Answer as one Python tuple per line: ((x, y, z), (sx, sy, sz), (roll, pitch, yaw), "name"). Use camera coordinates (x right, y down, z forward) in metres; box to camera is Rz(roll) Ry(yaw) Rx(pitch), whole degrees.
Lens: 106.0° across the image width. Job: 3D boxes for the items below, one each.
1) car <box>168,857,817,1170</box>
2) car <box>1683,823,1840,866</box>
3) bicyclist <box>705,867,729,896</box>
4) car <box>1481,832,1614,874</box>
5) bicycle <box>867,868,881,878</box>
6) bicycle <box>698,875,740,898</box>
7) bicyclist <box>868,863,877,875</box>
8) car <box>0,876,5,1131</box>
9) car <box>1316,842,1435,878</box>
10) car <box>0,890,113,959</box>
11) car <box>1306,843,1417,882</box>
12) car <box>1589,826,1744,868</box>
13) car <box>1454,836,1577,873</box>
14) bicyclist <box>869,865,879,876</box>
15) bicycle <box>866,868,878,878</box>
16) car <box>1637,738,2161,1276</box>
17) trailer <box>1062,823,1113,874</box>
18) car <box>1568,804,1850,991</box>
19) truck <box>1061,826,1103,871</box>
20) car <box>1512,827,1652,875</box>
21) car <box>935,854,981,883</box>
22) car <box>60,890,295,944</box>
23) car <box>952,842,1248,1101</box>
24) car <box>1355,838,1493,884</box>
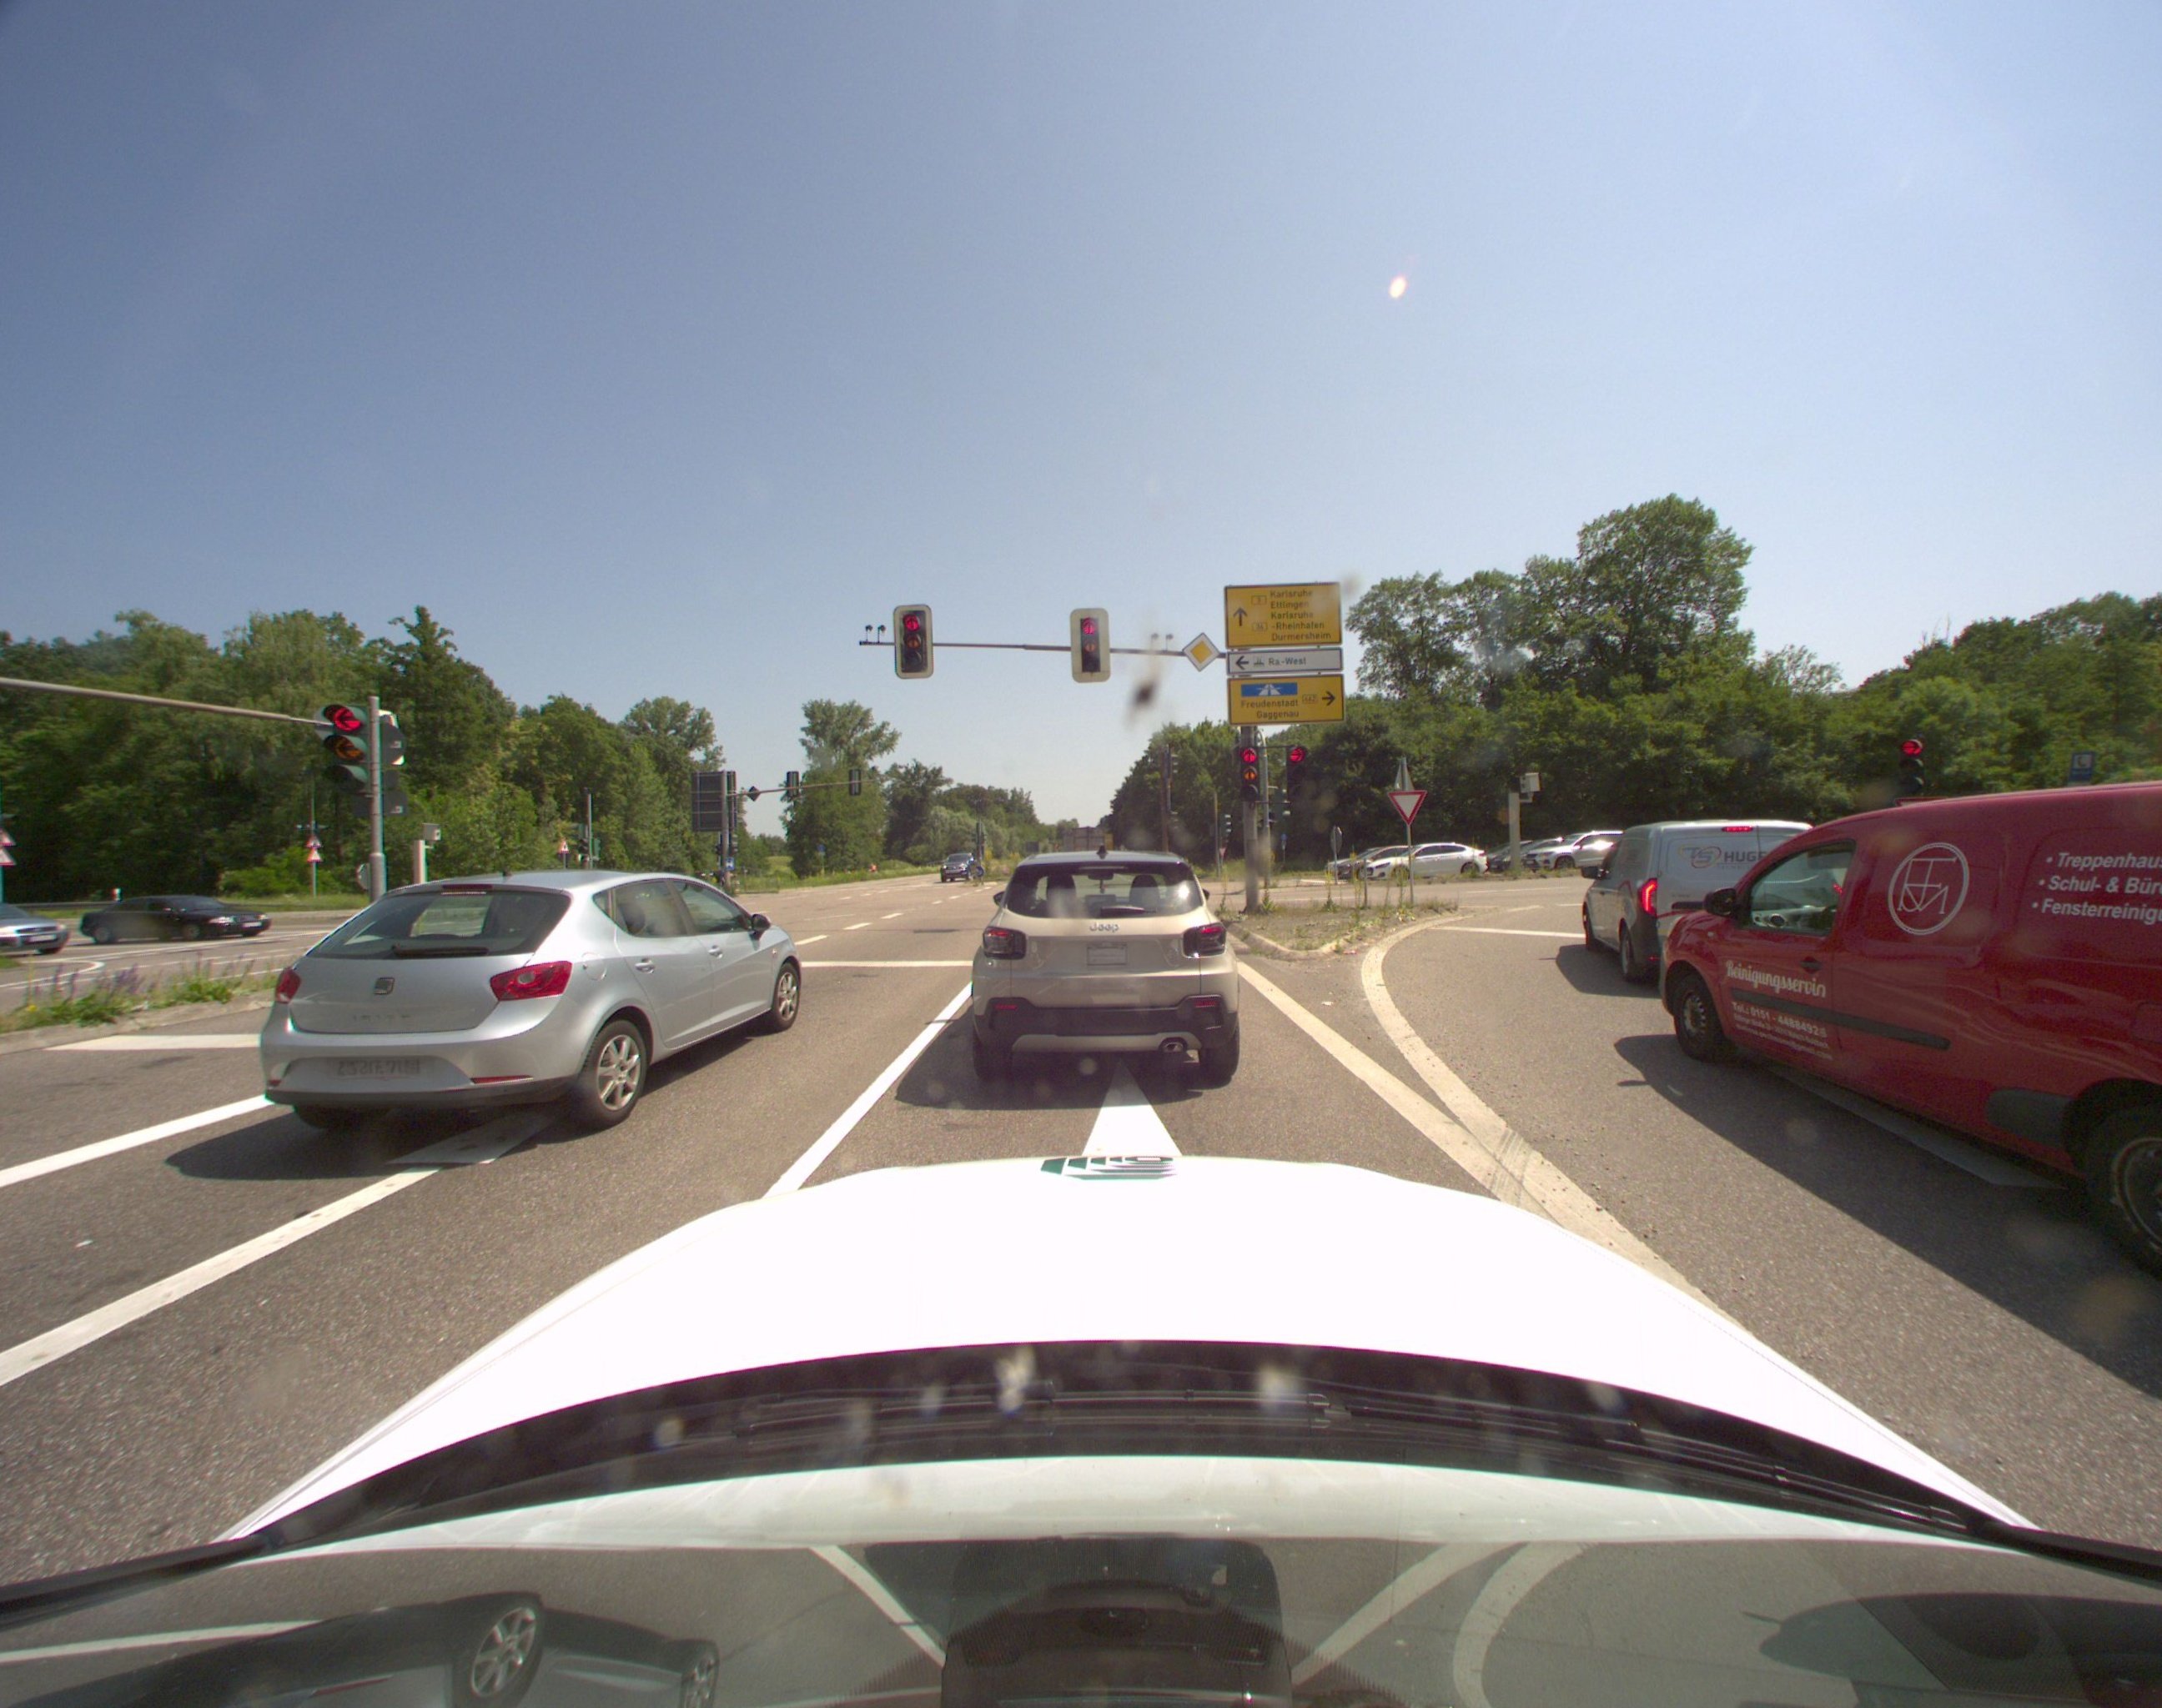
((-3.350, 0.746, 5.686), (1.659, 1.430, 3.830), (0, 0, 2), "car")
((26.039, -0.344, 31.266), (4.315, 1.414, 1.974), (-3, -1, 1), "car")
((-18.895, 1.419, 42.258), (0.914, 1.459, 0.721), (-2, 0, 38), "bicyclist")
((19.692, -0.022, 34.516), (4.404, 1.535, 2.122), (-2, -1, 0), "car")
((-22.245, 2.080, 87.583), (0.672, 1.005, 1.806), (-3, 0, 11), "bicycle")
((-18.814, 1.694, 42.361), (0.715, 1.063, 1.881), (-2, 0, 38), "bicycle")
((-23.120, 1.650, 90.120), (0.730, 1.195, 0.594), (-3, -1, 12), "bicyclist")
((-6.765, 0.826, 2.434), (1.759, 1.391, 4.013), (0, 0, -1), "car")
((13.887, 0.303, 38.660), (4.913, 1.498, 2.021), (-2, -1, 1), "car")
((-28.567, 1.863, 20.920), (4.788, 1.567, 2.130), (-2, 0, 0), "car")
((12.031, 0.344, 35.086), (4.080, 1.447, 1.994), (-2, 0, -1), "car")
((25.195, -0.287, 35.186), (5.111, 1.533, 2.138), (-3, -1, 1), "car")
((20.328, 0.015, 38.219), (4.600, 1.498, 2.112), (-2, -1, 1), "car")
((-22.274, 1.755, 87.531), (0.752, 1.195, 0.594), (-3, 0, 11), "bicyclist")
((-23.107, 2.084, 90.162), (0.600, 1.006, 1.560), (-3, -1, 12), "bicycle")
((4.858, 0.502, 4.130), (1.780, 1.822, 4.511), (-1, 0, 12), "car")
((0.409, -0.404, 69.600), (3.377, 3.989, 10.784), (0, -1, -5), "trailer")
((7.292, 0.409, 9.954), (1.740, 1.773, 4.136), (-2, 0, 24), "car")
((-0.013, -0.442, 74.987), (3.327, 3.989, 6.522), (0, -1, -5), "truck")
((19.253, -0.112, 31.454), (4.157, 1.659, 2.000), (-2, 0, 1), "car")
((-8.034, 0.906, 53.775), (1.986, 1.678, 5.367), (-3, 0, 2), "car")
((-27.326, 1.881, 24.767), (4.788, 1.290, 2.106), (-2, 0, 1), "car")
((0.177, 0.709, 6.918), (1.761, 1.535, 4.002), (-1, 0, 2), "car")
((13.078, 0.259, 31.225), (4.406, 1.535, 1.999), (-2, 0, -1), "car")
